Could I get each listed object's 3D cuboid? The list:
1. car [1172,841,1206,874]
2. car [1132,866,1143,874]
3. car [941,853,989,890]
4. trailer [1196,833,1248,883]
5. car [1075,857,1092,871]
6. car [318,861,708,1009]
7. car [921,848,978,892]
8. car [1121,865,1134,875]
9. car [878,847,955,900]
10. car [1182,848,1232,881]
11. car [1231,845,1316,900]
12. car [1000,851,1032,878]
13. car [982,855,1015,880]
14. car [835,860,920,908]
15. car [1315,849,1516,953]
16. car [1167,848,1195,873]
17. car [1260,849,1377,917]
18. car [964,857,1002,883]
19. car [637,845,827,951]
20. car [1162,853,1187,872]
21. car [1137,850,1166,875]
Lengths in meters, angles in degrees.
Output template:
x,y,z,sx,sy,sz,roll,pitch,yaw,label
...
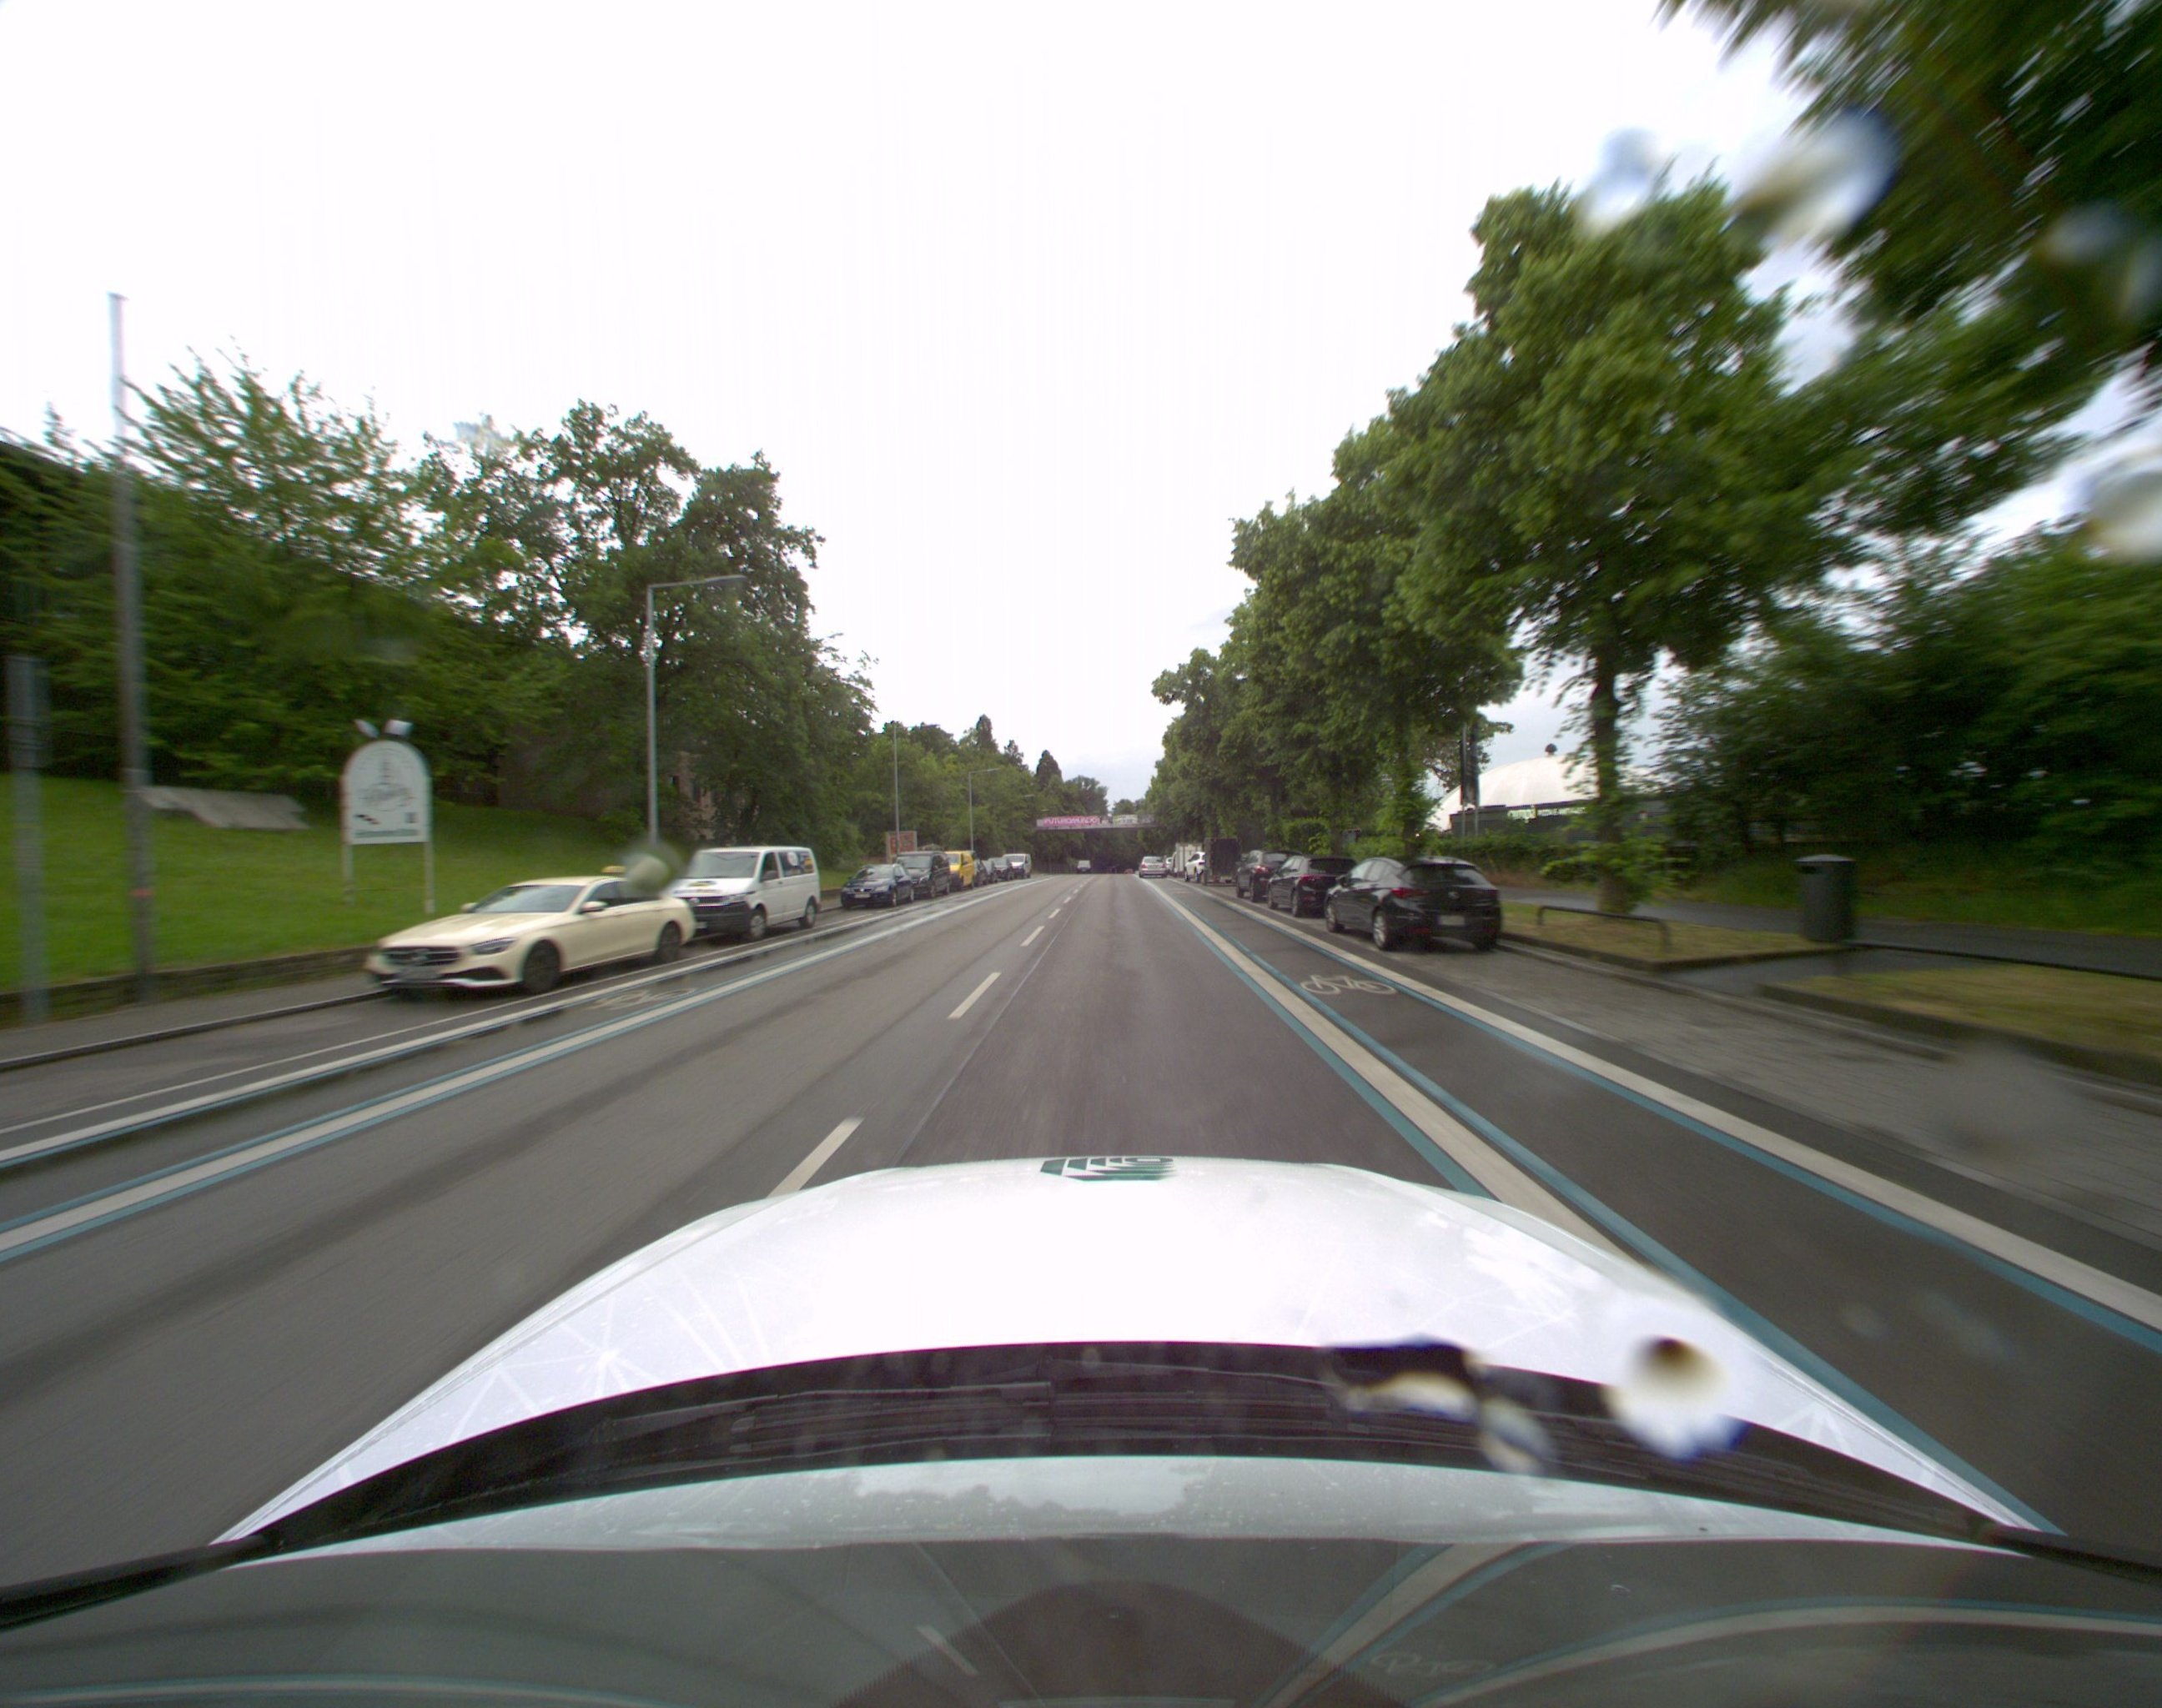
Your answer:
x,y,z,sx,sy,sz,roll,pitch,yaw,label
7.176,0.216,54.507,1.881,2.127,4.048,-2,0,3,car
12.856,3.686,185.690,1.978,1.605,4.066,-2,0,10,car
-6.417,0.931,45.429,1.983,1.893,4.056,-2,1,1,car
6.505,0.180,37.863,1.876,2.166,3.811,-2,0,3,trailer
0.229,1.141,95.332,1.863,1.473,4.053,-2,0,-1,car
-7.765,0.963,11.972,1.982,1.605,4.989,-1,0,3,car
-6.440,0.710,40.344,1.876,1.945,4.827,-2,1,1,car
8.567,2.939,150.347,2.129,1.492,4.508,-1,1,7,car
-6.763,0.721,34.087,1.983,1.946,5.144,-2,1,2,car
6.428,0.504,41.983,1.727,1.583,4.150,-2,0,-3,car
5.962,0.540,25.666,1.725,1.583,4.154,0,0,0,car
-5.102,0.795,64.271,1.749,1.931,4.199,-2,1,5,car
-5.744,0.914,56.841,1.864,1.542,4.053,-2,1,-1,car
-7.035,0.987,28.627,1.725,1.390,4.372,-2,1,1,car
5.444,0.668,13.901,1.725,1.463,4.277,0,0,0,car
7.325,0.453,59.872,1.723,1.684,4.048,-2,0,3,car
5.722,0.634,20.122,1.725,1.463,4.072,-2,0,0,car
-6.109,0.953,50.927,1.880,1.451,3.981,-2,1,-1,car
-7.423,0.814,17.994,1.906,1.931,4.930,-2,1,1,car
7.607,0.687,66.564,1.723,1.462,4.048,-2,0,3,car
4.715,0.566,55.052,1.724,1.583,4.038,-2,0,2,car
